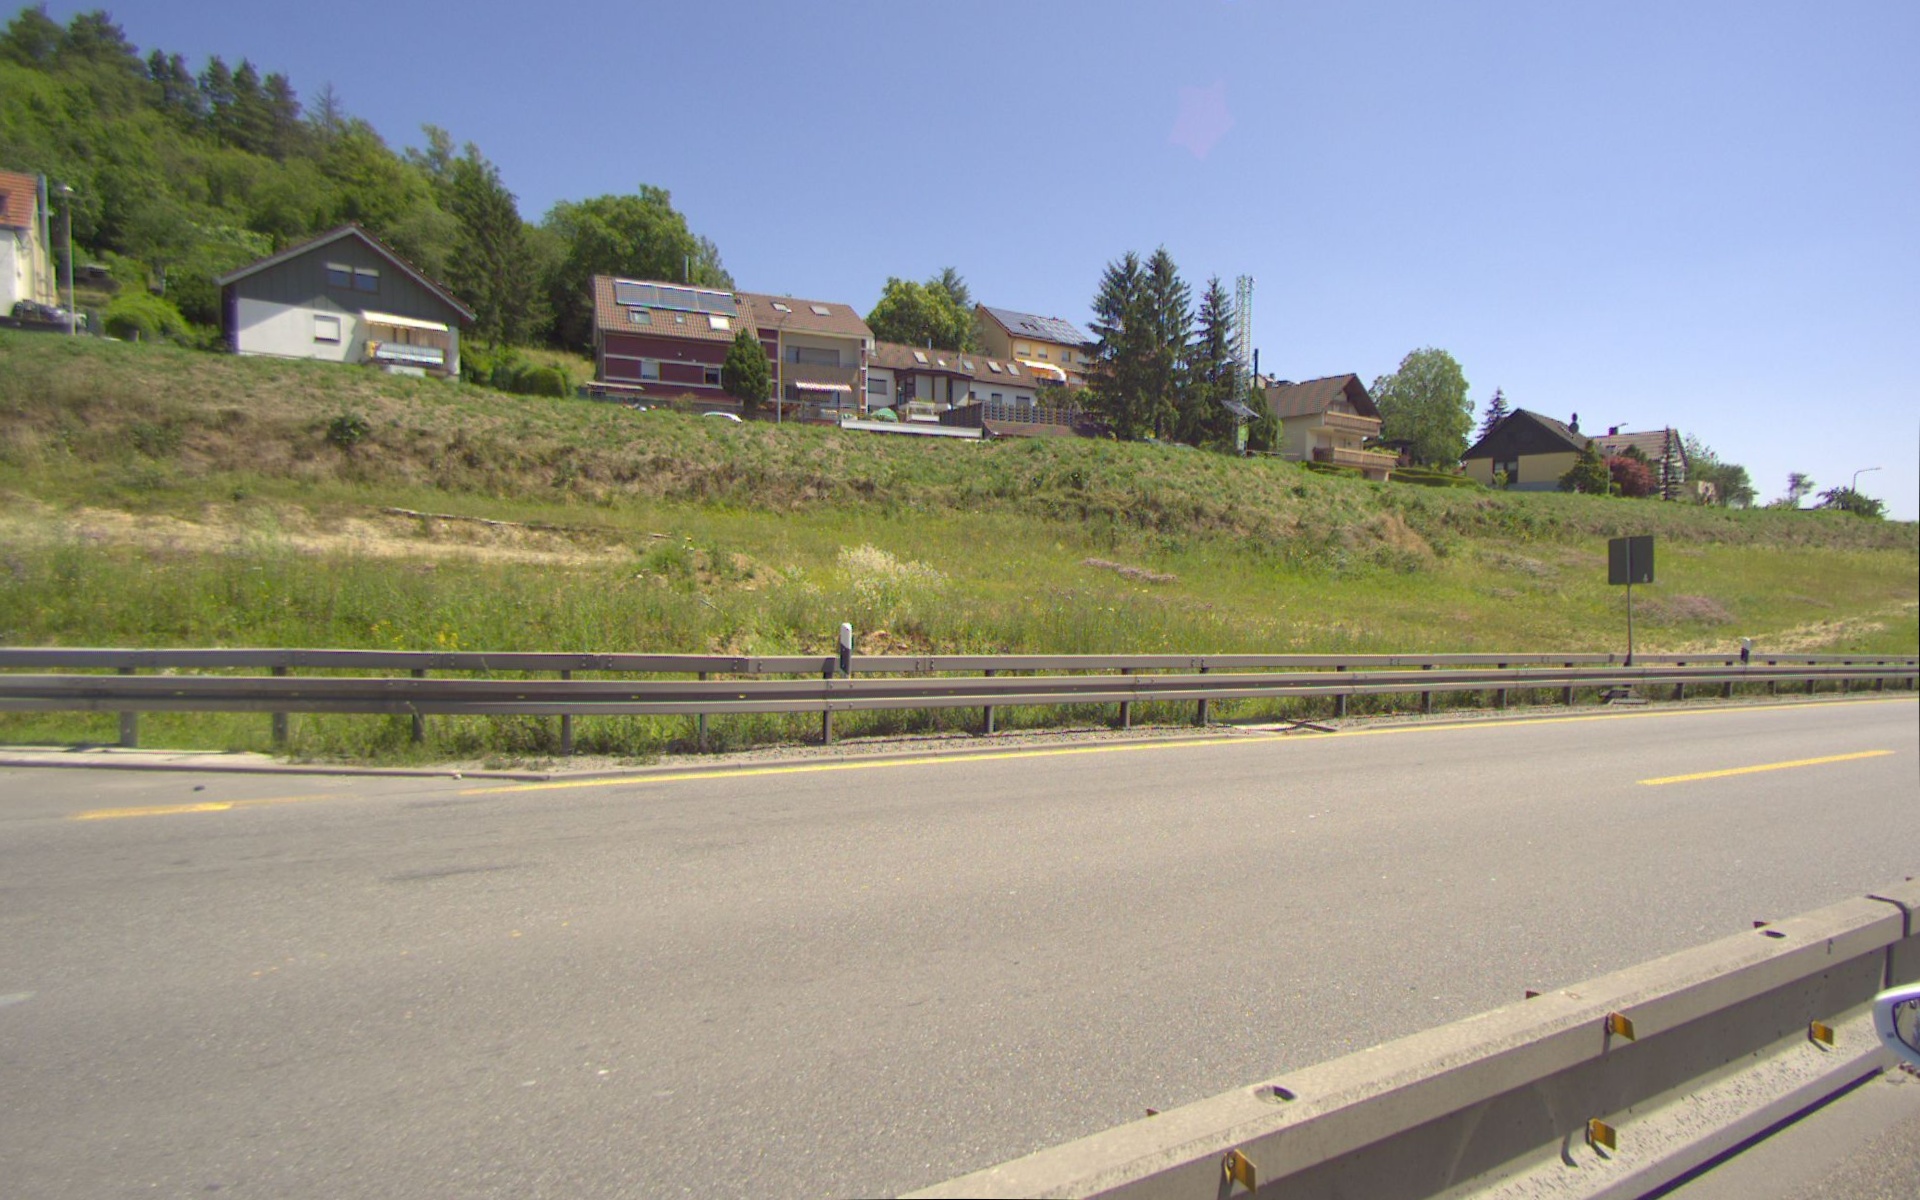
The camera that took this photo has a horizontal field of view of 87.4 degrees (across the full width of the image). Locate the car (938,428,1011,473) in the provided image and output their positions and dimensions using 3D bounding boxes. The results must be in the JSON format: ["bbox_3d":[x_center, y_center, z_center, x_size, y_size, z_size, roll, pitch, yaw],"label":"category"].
[{"bbox_3d":[0.865,-9.068,61.160,3.946,2.040,1.988,3,-1,-25],"label":"car"}]
